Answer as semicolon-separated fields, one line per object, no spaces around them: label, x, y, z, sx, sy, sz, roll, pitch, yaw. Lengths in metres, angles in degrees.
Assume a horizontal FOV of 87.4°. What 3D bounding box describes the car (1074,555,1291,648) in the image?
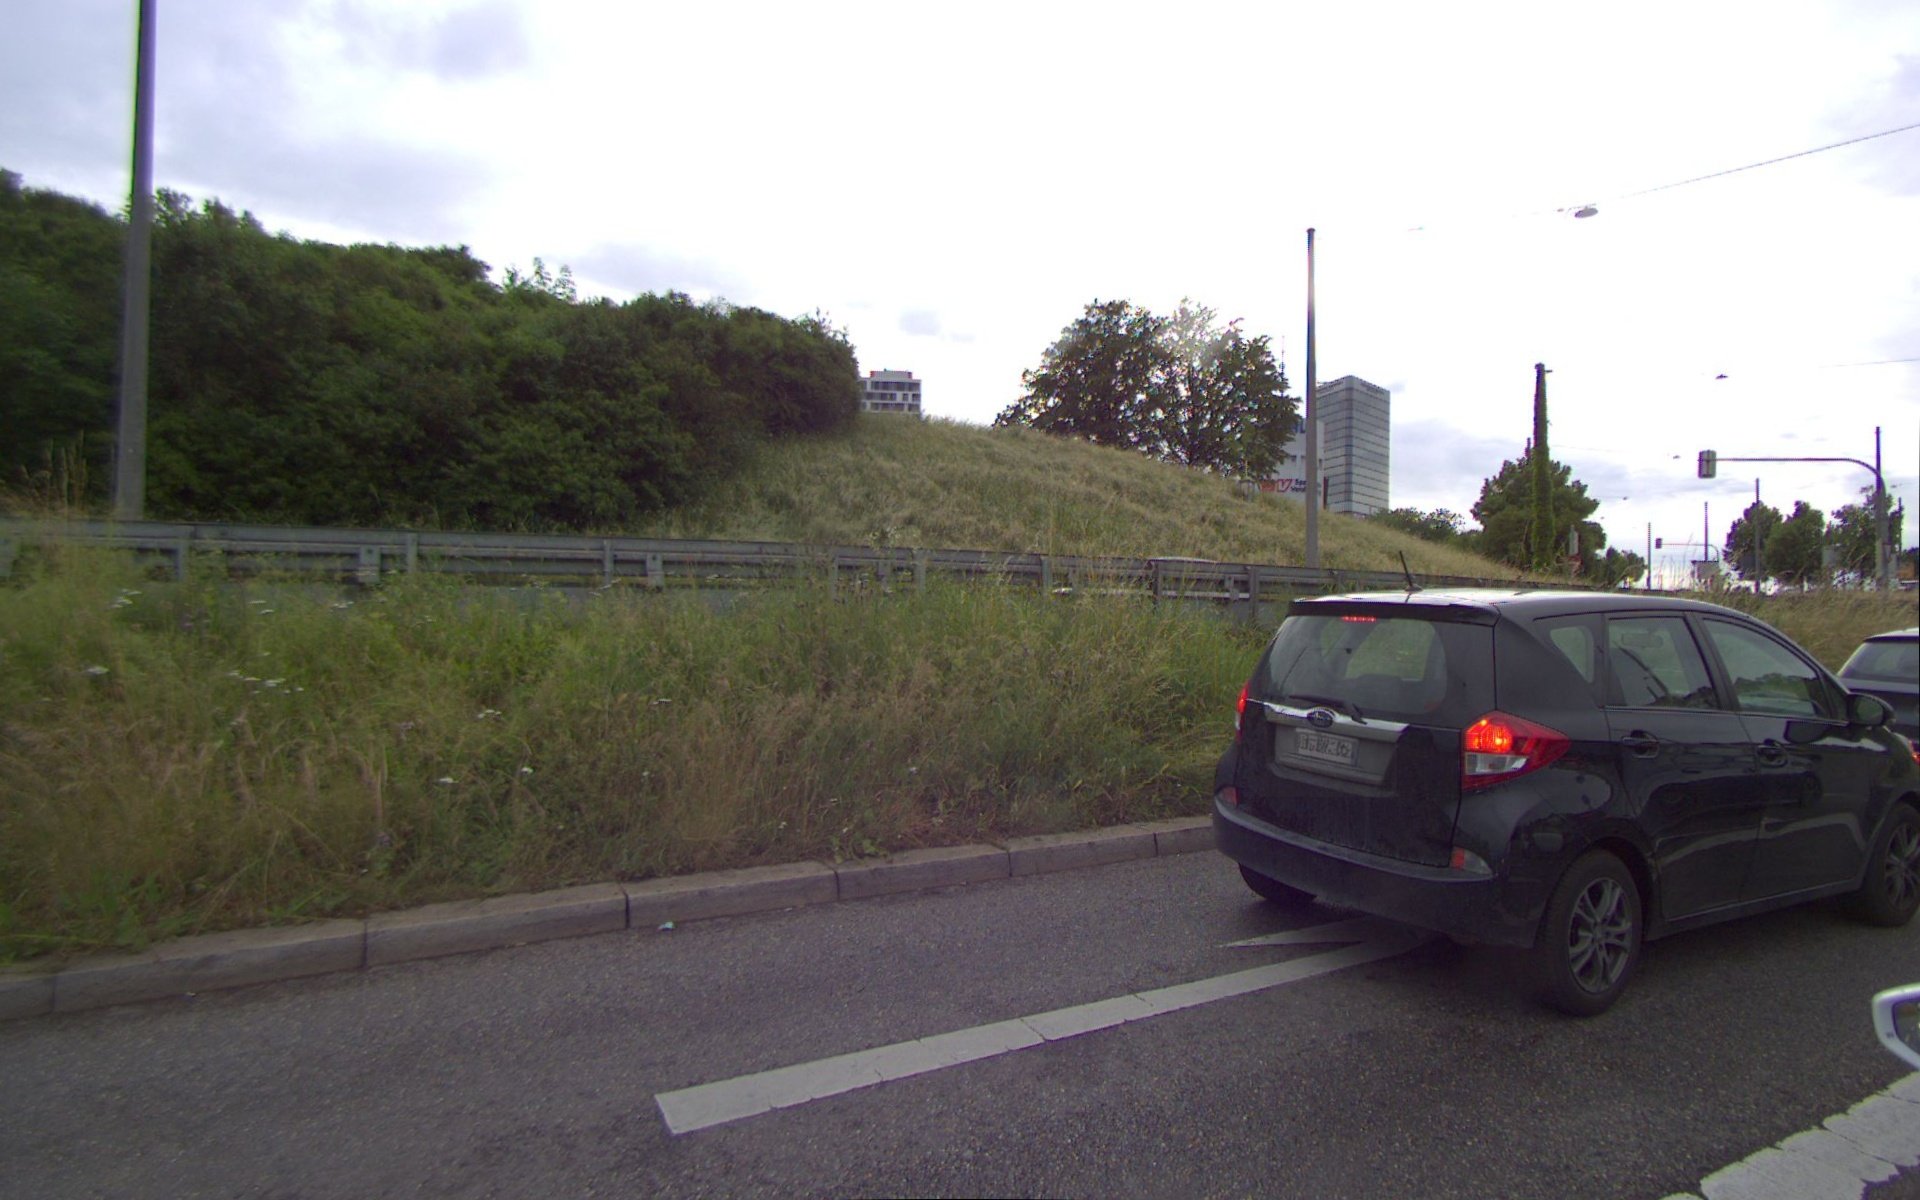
car;4.069;0.026;18.297;3.634;1.537;1.727;1;1;-30

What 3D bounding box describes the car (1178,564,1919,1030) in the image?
car;3.071;0.657;4.889;3.731;1.525;1.635;1;2;-28

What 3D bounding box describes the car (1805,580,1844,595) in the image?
car;93.058;-1.327;108.174;1.962;1.497;4.499;2;-1;25

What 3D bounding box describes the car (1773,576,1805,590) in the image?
car;100.737;-2.041;122.127;1.962;1.497;4.417;2;-1;25

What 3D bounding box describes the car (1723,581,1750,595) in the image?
car;112.561;-1.753;145.600;2.096;1.818;4.734;3;2;27

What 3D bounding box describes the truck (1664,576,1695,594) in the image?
truck;131.054;-2.723;182.970;3.206;3.116;6.171;4;3;23

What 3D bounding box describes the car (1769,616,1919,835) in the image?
car;8.333;0.883;7.710;4.058;1.479;1.698;1;-1;-25

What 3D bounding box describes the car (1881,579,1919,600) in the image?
car;81.067;-0.894;85.920;1.962;1.658;4.418;2;-1;23
